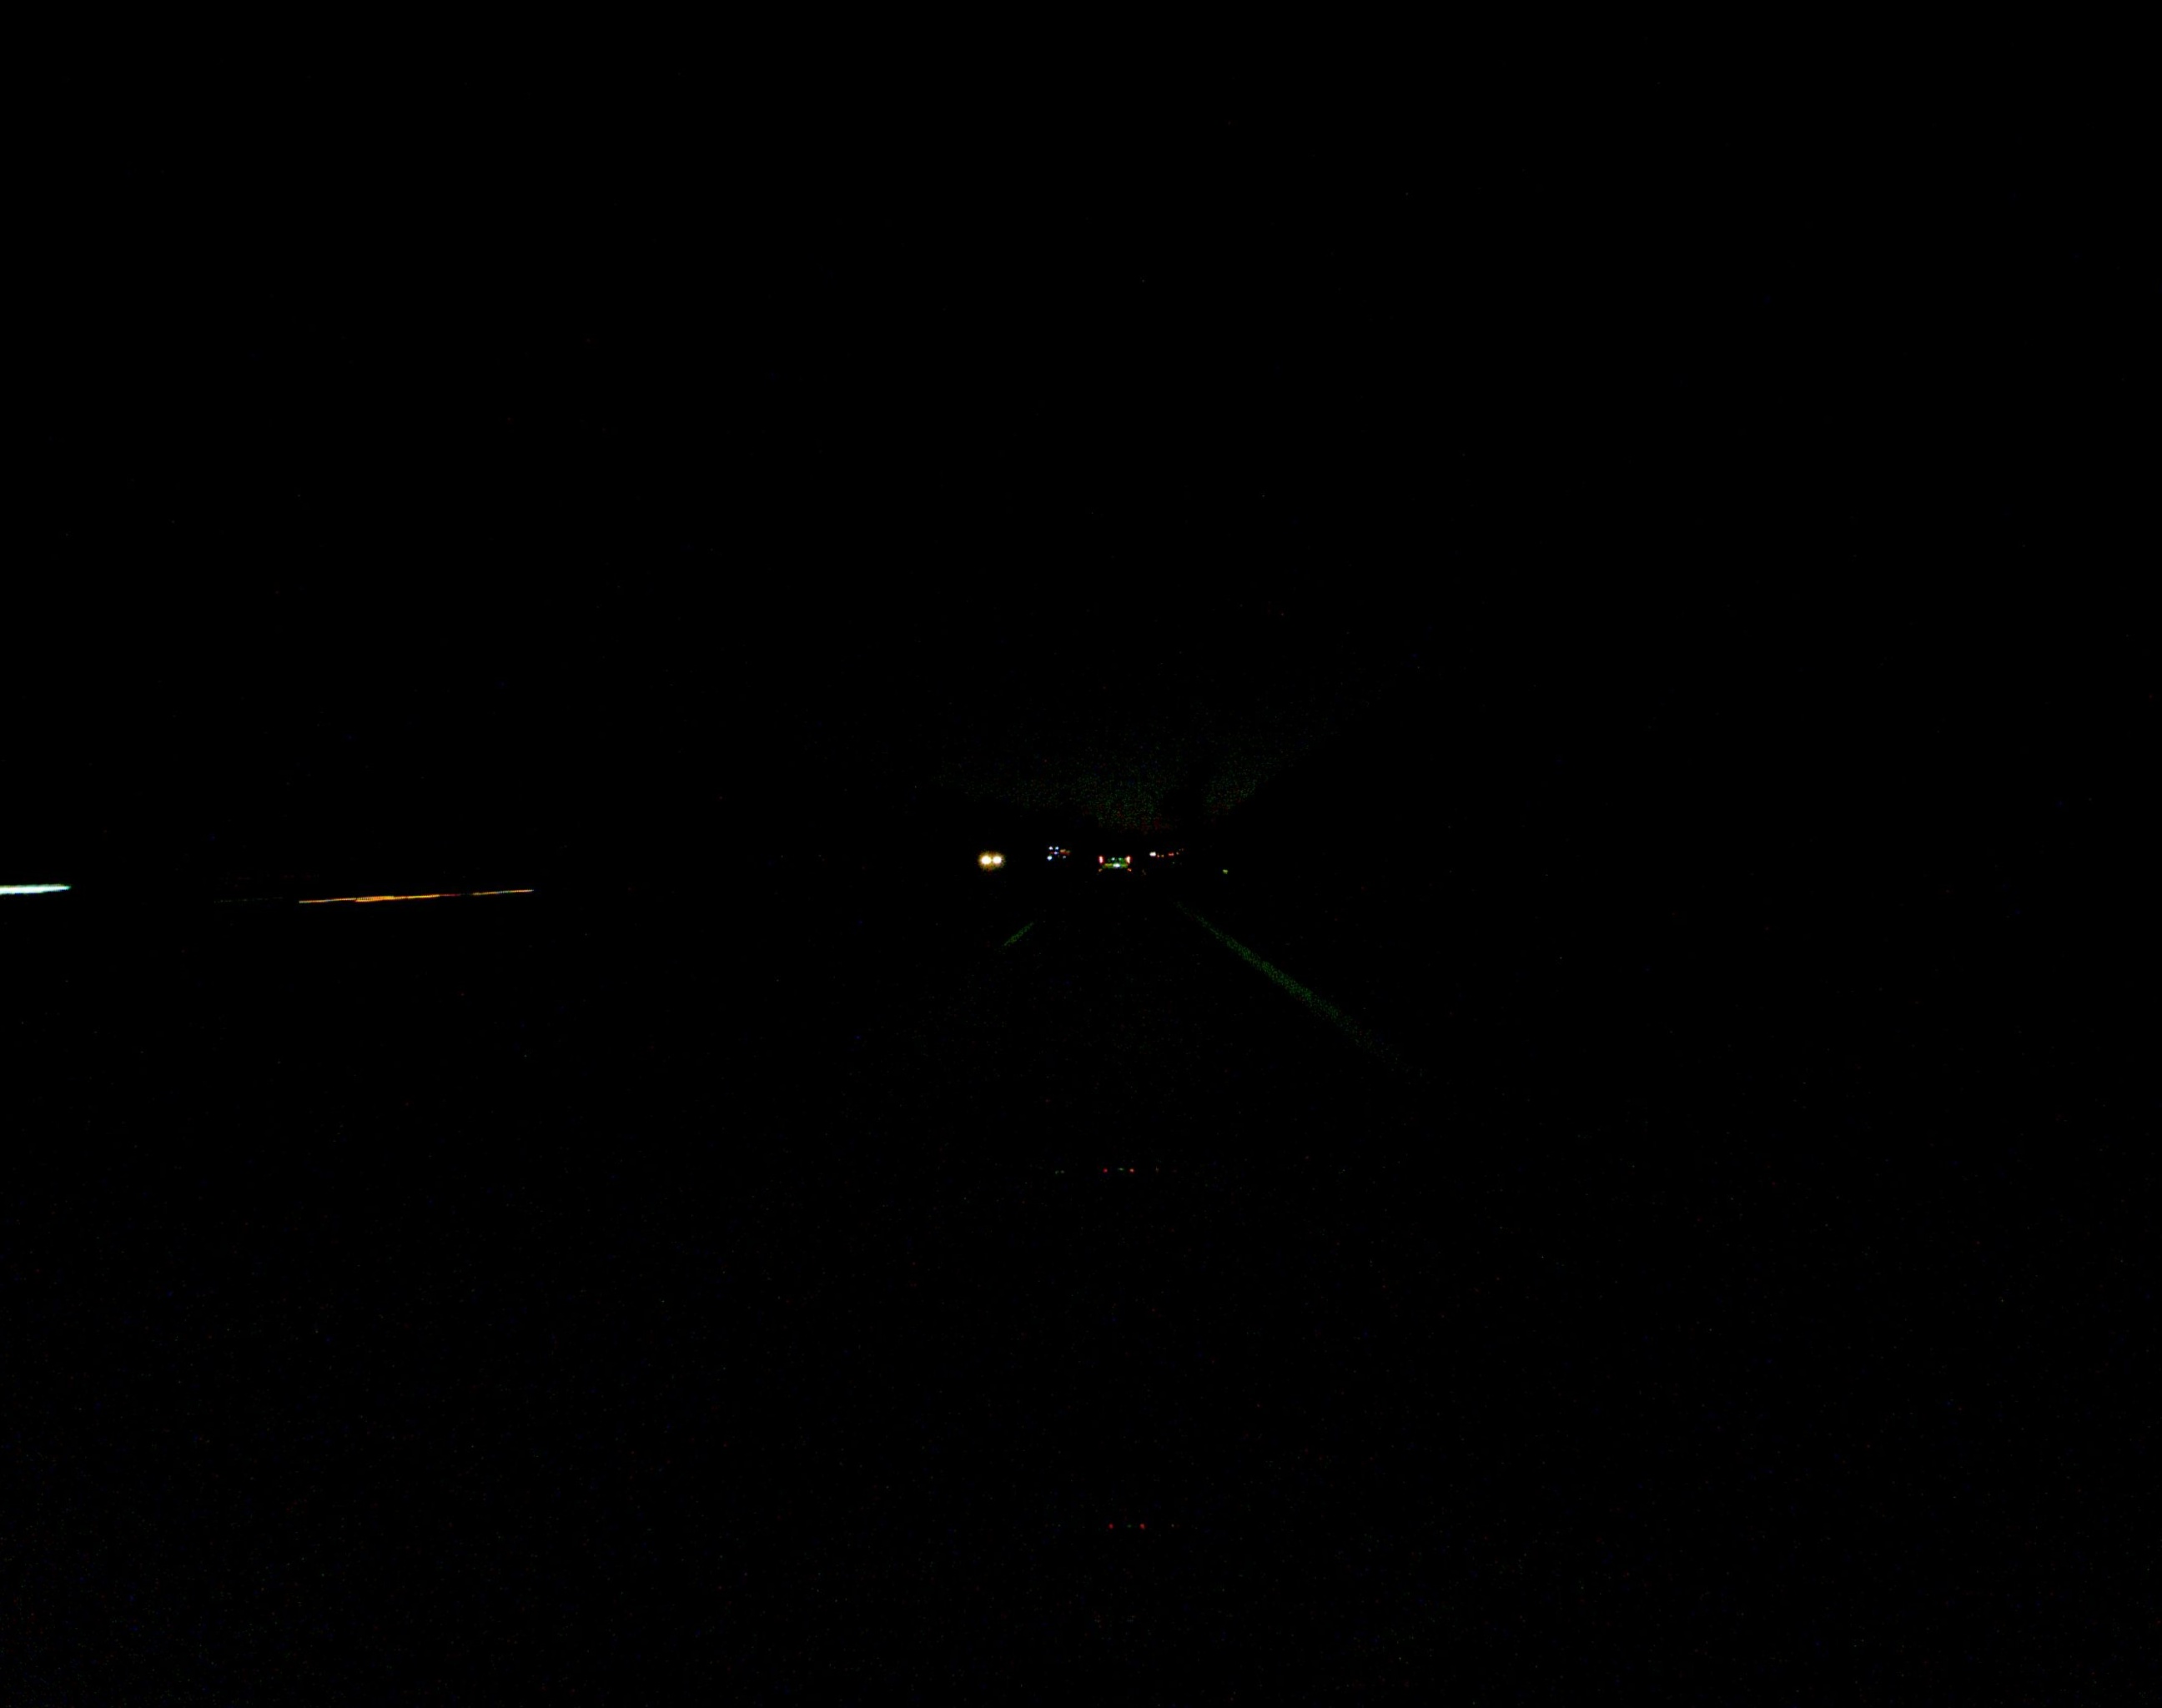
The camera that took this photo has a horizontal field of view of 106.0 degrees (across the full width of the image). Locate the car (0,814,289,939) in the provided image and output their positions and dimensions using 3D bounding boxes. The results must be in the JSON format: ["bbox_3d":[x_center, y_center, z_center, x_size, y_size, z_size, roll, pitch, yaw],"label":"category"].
[{"bbox_3d":[-22.518,0.478,18.869,2.074,2.487,6.246,-1,-1,2],"label":"car"}]

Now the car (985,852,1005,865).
[{"bbox_3d":[-12.300,0.680,116.677,1.985,1.821,5.693,-1,-1,4],"label":"car"}]

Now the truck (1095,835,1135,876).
[{"bbox_3d":[2.315,0.122,57.679,2.621,2.624,8.685,-1,-1,1],"label":"truck"}]

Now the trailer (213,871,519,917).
[{"bbox_3d":[-22.164,1.172,26.112,2.405,1.104,8.082,-1,0,3],"label":"trailer"}]

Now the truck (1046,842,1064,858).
[{"bbox_3d":[-6.503,-0.942,204.834,3.485,3.970,6.710,-1,-1,6],"label":"truck"}]

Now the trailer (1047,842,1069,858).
[{"bbox_3d":[-5.824,-0.870,212.265,3.526,4.000,17.307,-1,-1,5],"label":"trailer"}]
